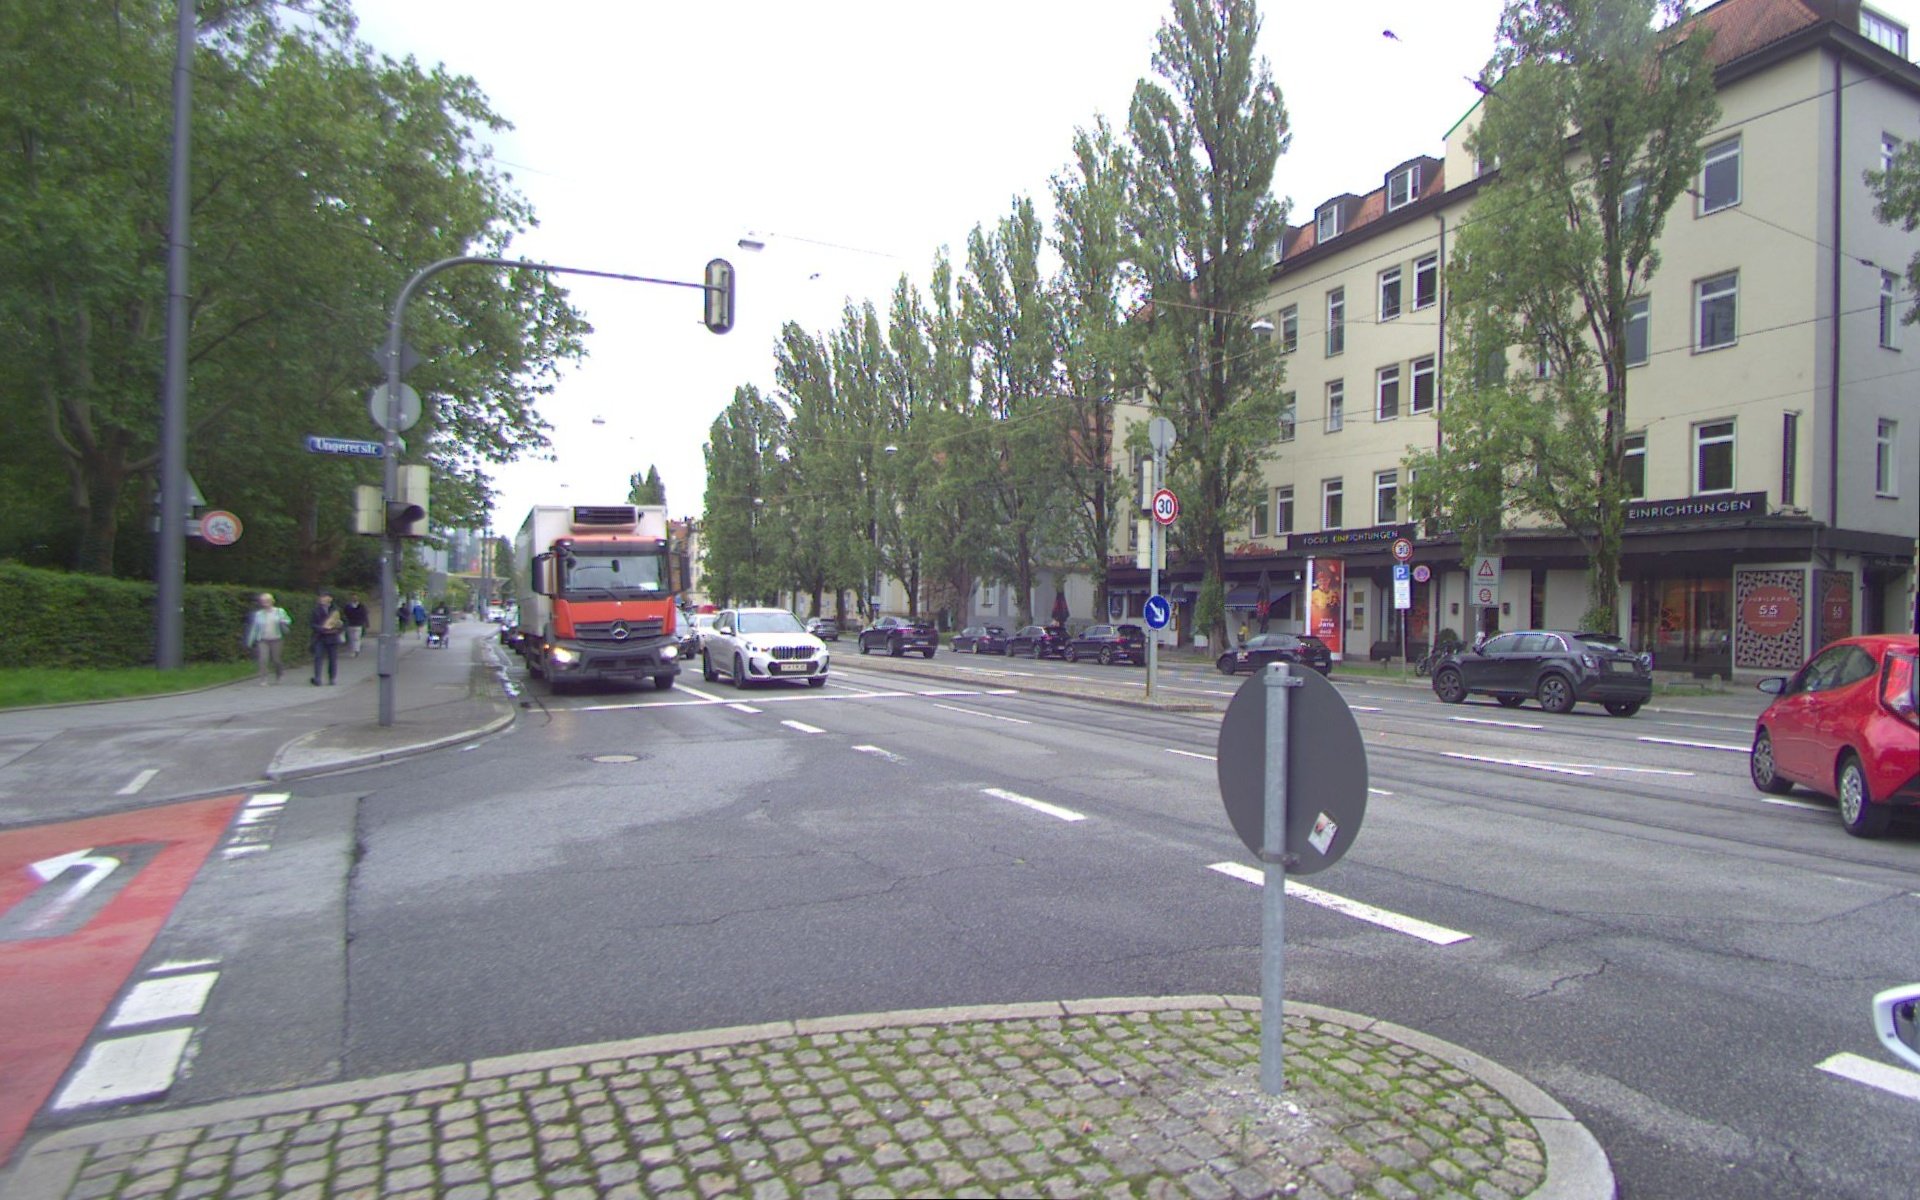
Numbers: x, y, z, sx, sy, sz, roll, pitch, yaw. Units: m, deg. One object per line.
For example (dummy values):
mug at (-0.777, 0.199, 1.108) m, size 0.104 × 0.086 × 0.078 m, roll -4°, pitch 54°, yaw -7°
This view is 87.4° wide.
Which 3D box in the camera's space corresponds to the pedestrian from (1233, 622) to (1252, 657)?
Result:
pedestrian at (13.088, 1.830, 46.539) m, size 0.567 × 1.583 × 0.492 m, roll 2°, pitch 0°, yaw -26°

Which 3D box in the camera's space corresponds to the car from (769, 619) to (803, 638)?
car at (-14.625, 2.369, 84.365) m, size 1.781 × 1.528 × 3.975 m, roll 2°, pitch -2°, yaw -25°

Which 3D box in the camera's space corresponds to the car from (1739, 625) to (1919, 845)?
car at (7.599, 0.953, 7.979) m, size 1.604 × 1.459 × 3.372 m, roll 1°, pitch -1°, yaw 27°

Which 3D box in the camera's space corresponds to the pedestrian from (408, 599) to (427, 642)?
pedestrian at (-26.071, 0.983, 48.266) m, size 0.607 × 2.040 × 0.676 m, roll 2°, pitch 0°, yaw -19°

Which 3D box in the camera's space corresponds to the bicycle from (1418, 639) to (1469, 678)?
bicycle at (15.360, 1.857, 31.884) m, size 1.867 × 1.200 × 0.492 m, roll 2°, pitch -1°, yaw -30°

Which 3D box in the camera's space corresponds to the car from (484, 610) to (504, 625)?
car at (-49.321, 1.844, 106.274) m, size 1.782 × 1.551 × 4.486 m, roll 0°, pitch -1°, yaw -28°

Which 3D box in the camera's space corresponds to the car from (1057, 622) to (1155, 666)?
car at (5.898, 1.765, 41.107) m, size 1.704 × 1.633 × 4.440 m, roll 2°, pitch -1°, yaw -26°

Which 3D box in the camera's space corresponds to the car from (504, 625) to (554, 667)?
car at (-18.791, 1.942, 43.684) m, size 1.781 × 1.664 × 4.968 m, roll 1°, pitch -1°, yaw -25°

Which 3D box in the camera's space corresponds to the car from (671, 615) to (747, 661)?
car at (-9.870, 1.448, 39.175) m, size 1.805 × 1.660 × 4.857 m, roll 2°, pitch -1°, yaw -27°

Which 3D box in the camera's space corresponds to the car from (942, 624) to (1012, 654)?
car at (0.831, 1.969, 51.438) m, size 1.782 × 1.417 × 4.352 m, roll 2°, pitch -1°, yaw -26°

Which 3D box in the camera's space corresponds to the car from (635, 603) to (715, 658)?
car at (-9.696, 1.009, 33.929) m, size 1.804 × 1.705 × 4.860 m, roll 2°, pitch -1°, yaw -25°

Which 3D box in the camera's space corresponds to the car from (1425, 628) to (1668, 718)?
car at (11.135, 1.327, 19.412) m, size 1.757 × 1.505 × 3.988 m, roll 2°, pitch -1°, yaw -15°

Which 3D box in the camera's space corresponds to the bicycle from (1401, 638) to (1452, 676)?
bicycle at (15.125, 1.845, 32.548) m, size 1.867 × 1.200 × 0.492 m, roll 2°, pitch -1°, yaw -30°

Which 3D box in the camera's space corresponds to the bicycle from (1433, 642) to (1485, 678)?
bicycle at (15.633, 1.878, 31.436) m, size 1.867 × 1.096 × 0.492 m, roll 2°, pitch -1°, yaw -30°

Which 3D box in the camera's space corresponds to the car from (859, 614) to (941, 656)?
car at (-2.471, 1.366, 40.312) m, size 1.718 × 1.569 × 4.547 m, roll 2°, pitch -1°, yaw -25°

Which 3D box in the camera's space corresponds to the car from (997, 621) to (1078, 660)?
car at (3.484, 1.831, 46.026) m, size 1.782 × 1.633 × 4.276 m, roll 2°, pitch -1°, yaw -26°

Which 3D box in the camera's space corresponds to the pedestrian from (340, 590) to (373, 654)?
pedestrian at (-17.479, 0.640, 29.083) m, size 0.680 × 1.834 × 0.654 m, roll 2°, pitch -1°, yaw -39°

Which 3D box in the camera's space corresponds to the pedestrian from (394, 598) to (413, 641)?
pedestrian at (-26.814, 0.948, 48.372) m, size 0.606 × 2.040 × 0.677 m, roll 2°, pitch 0°, yaw -18°

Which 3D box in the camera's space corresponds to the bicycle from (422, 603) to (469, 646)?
bicycle at (-20.282, 0.943, 39.533) m, size 1.511 × 1.487 × 3.970 m, roll 2°, pitch 0°, yaw -28°

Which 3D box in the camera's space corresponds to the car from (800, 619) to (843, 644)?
car at (-10.391, 2.314, 75.044) m, size 1.782 × 1.766 × 4.669 m, roll 2°, pitch -1°, yaw -26°

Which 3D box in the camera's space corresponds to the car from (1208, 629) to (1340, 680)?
car at (10.236, 1.759, 32.987) m, size 1.784 × 1.485 × 3.969 m, roll 3°, pitch -2°, yaw -30°

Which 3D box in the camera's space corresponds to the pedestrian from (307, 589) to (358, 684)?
pedestrian at (-11.502, 0.661, 18.420) m, size 0.680 × 1.685 × 0.654 m, roll 2°, pitch -1°, yaw -39°

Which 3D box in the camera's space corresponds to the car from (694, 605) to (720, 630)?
car at (-29.213, 1.977, 115.752) m, size 1.973 × 2.608 × 4.649 m, roll 2°, pitch 0°, yaw -25°

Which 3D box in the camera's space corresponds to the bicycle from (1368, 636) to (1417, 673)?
bicycle at (14.546, 1.842, 33.770) m, size 1.867 × 1.200 × 0.492 m, roll 2°, pitch -1°, yaw -30°

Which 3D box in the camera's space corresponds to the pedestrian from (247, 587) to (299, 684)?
pedestrian at (-12.177, 0.621, 17.812) m, size 0.680 × 1.685 × 0.548 m, roll 2°, pitch -1°, yaw -39°

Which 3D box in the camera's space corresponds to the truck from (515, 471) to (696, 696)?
truck at (-8.845, -0.217, 23.910) m, size 2.712 × 4.033 × 11.637 m, roll 0°, pitch -1°, yaw -26°

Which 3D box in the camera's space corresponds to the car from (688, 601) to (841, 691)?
car at (-4.357, 0.926, 21.726) m, size 1.897 × 1.705 × 4.855 m, roll 2°, pitch -1°, yaw -28°
